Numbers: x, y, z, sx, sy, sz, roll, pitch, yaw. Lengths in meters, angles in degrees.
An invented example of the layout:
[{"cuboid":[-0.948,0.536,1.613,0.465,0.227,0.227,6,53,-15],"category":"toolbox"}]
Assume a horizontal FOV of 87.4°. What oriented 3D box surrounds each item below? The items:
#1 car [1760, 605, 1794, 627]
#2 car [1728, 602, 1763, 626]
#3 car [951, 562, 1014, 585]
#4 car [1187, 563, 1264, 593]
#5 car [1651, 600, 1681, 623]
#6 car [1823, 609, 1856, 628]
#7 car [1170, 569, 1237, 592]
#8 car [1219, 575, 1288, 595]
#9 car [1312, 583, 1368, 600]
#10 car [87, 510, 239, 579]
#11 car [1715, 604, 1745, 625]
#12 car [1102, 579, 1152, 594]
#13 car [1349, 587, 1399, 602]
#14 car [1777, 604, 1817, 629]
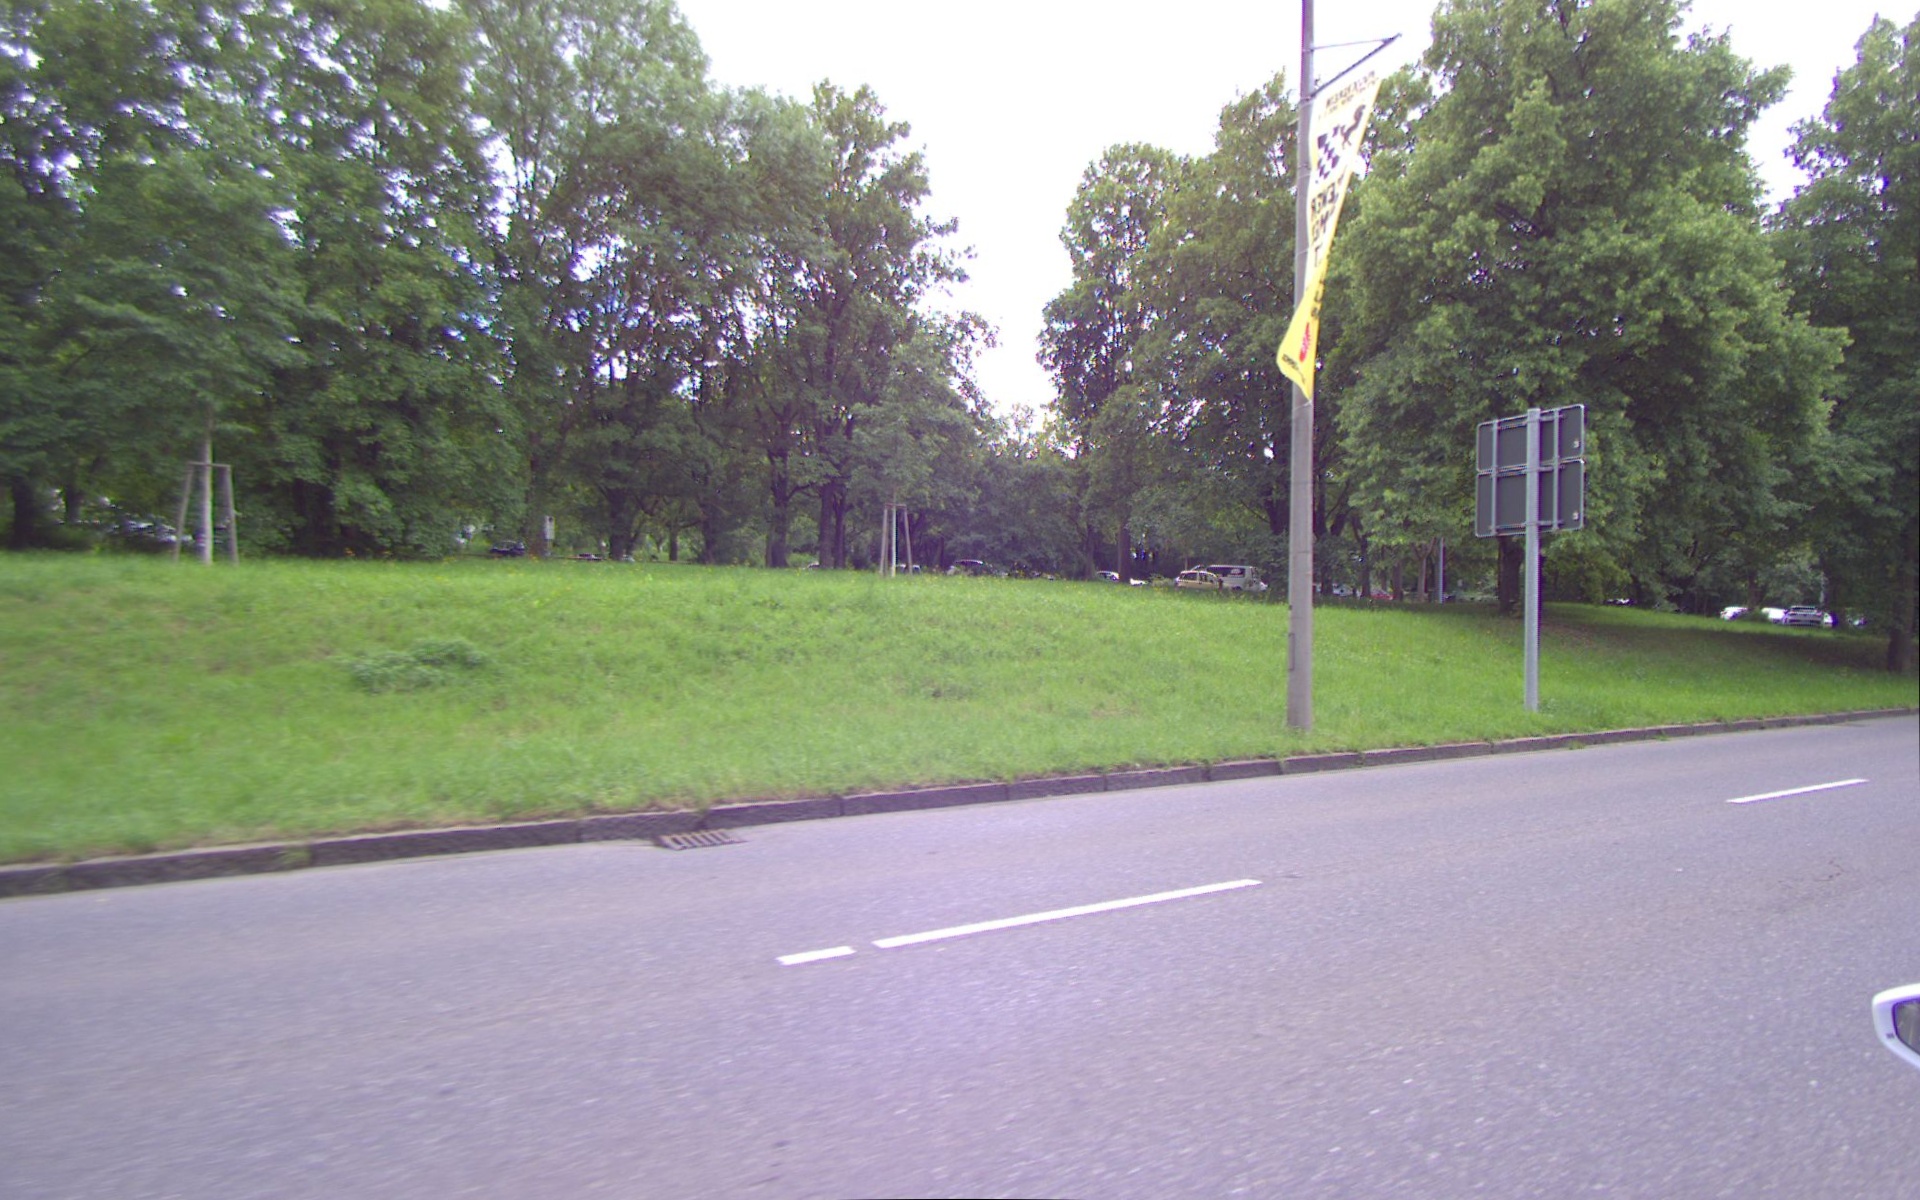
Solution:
[{"cuboid":[59.785,1.154,73.534,1.624,1.506,3.986,2,0,36],"category":"car"},{"cuboid":[52.175,0.932,66.761,1.624,1.506,3.986,2,0,36],"category":"car"},{"cuboid":[1.292,-1.545,58.774,3.448,1.250,1.396,2,0,32],"category":"car"},{"cuboid":[15.841,-1.337,60.056,4.048,1.706,1.748,2,0,37],"category":"car"},{"cuboid":[47.850,0.801,68.067,1.624,1.506,3.986,2,0,36],"category":"car"},{"cuboid":[73.049,1.542,83.478,1.624,1.506,3.986,2,0,36],"category":"car"},{"cuboid":[14.019,-1.150,57.905,3.448,1.226,1.396,2,0,32],"category":"car"},{"cuboid":[19.331,-0.999,66.179,3.920,1.226,1.897,2,0,35],"category":"car"},{"cuboid":[30.834,-0.669,81.514,3.920,1.226,1.897,2,0,35],"category":"car"},{"cuboid":[-24.923,-1.678,31.374,4.821,1.921,2.315,2,0,33],"category":"car"},{"cuboid":[57.685,1.089,75.254,1.624,1.506,3.986,2,0,36],"category":"car"},{"cuboid":[14.611,-1.163,87.865,3.920,1.226,1.897,2,0,35],"category":"car"},{"cuboid":[37.800,-0.514,91.787,3.920,1.226,1.897,2,0,35],"category":"car"},{"cuboid":[53.890,1.077,64.723,1.624,1.506,3.986,2,0,36],"category":"car"}]
